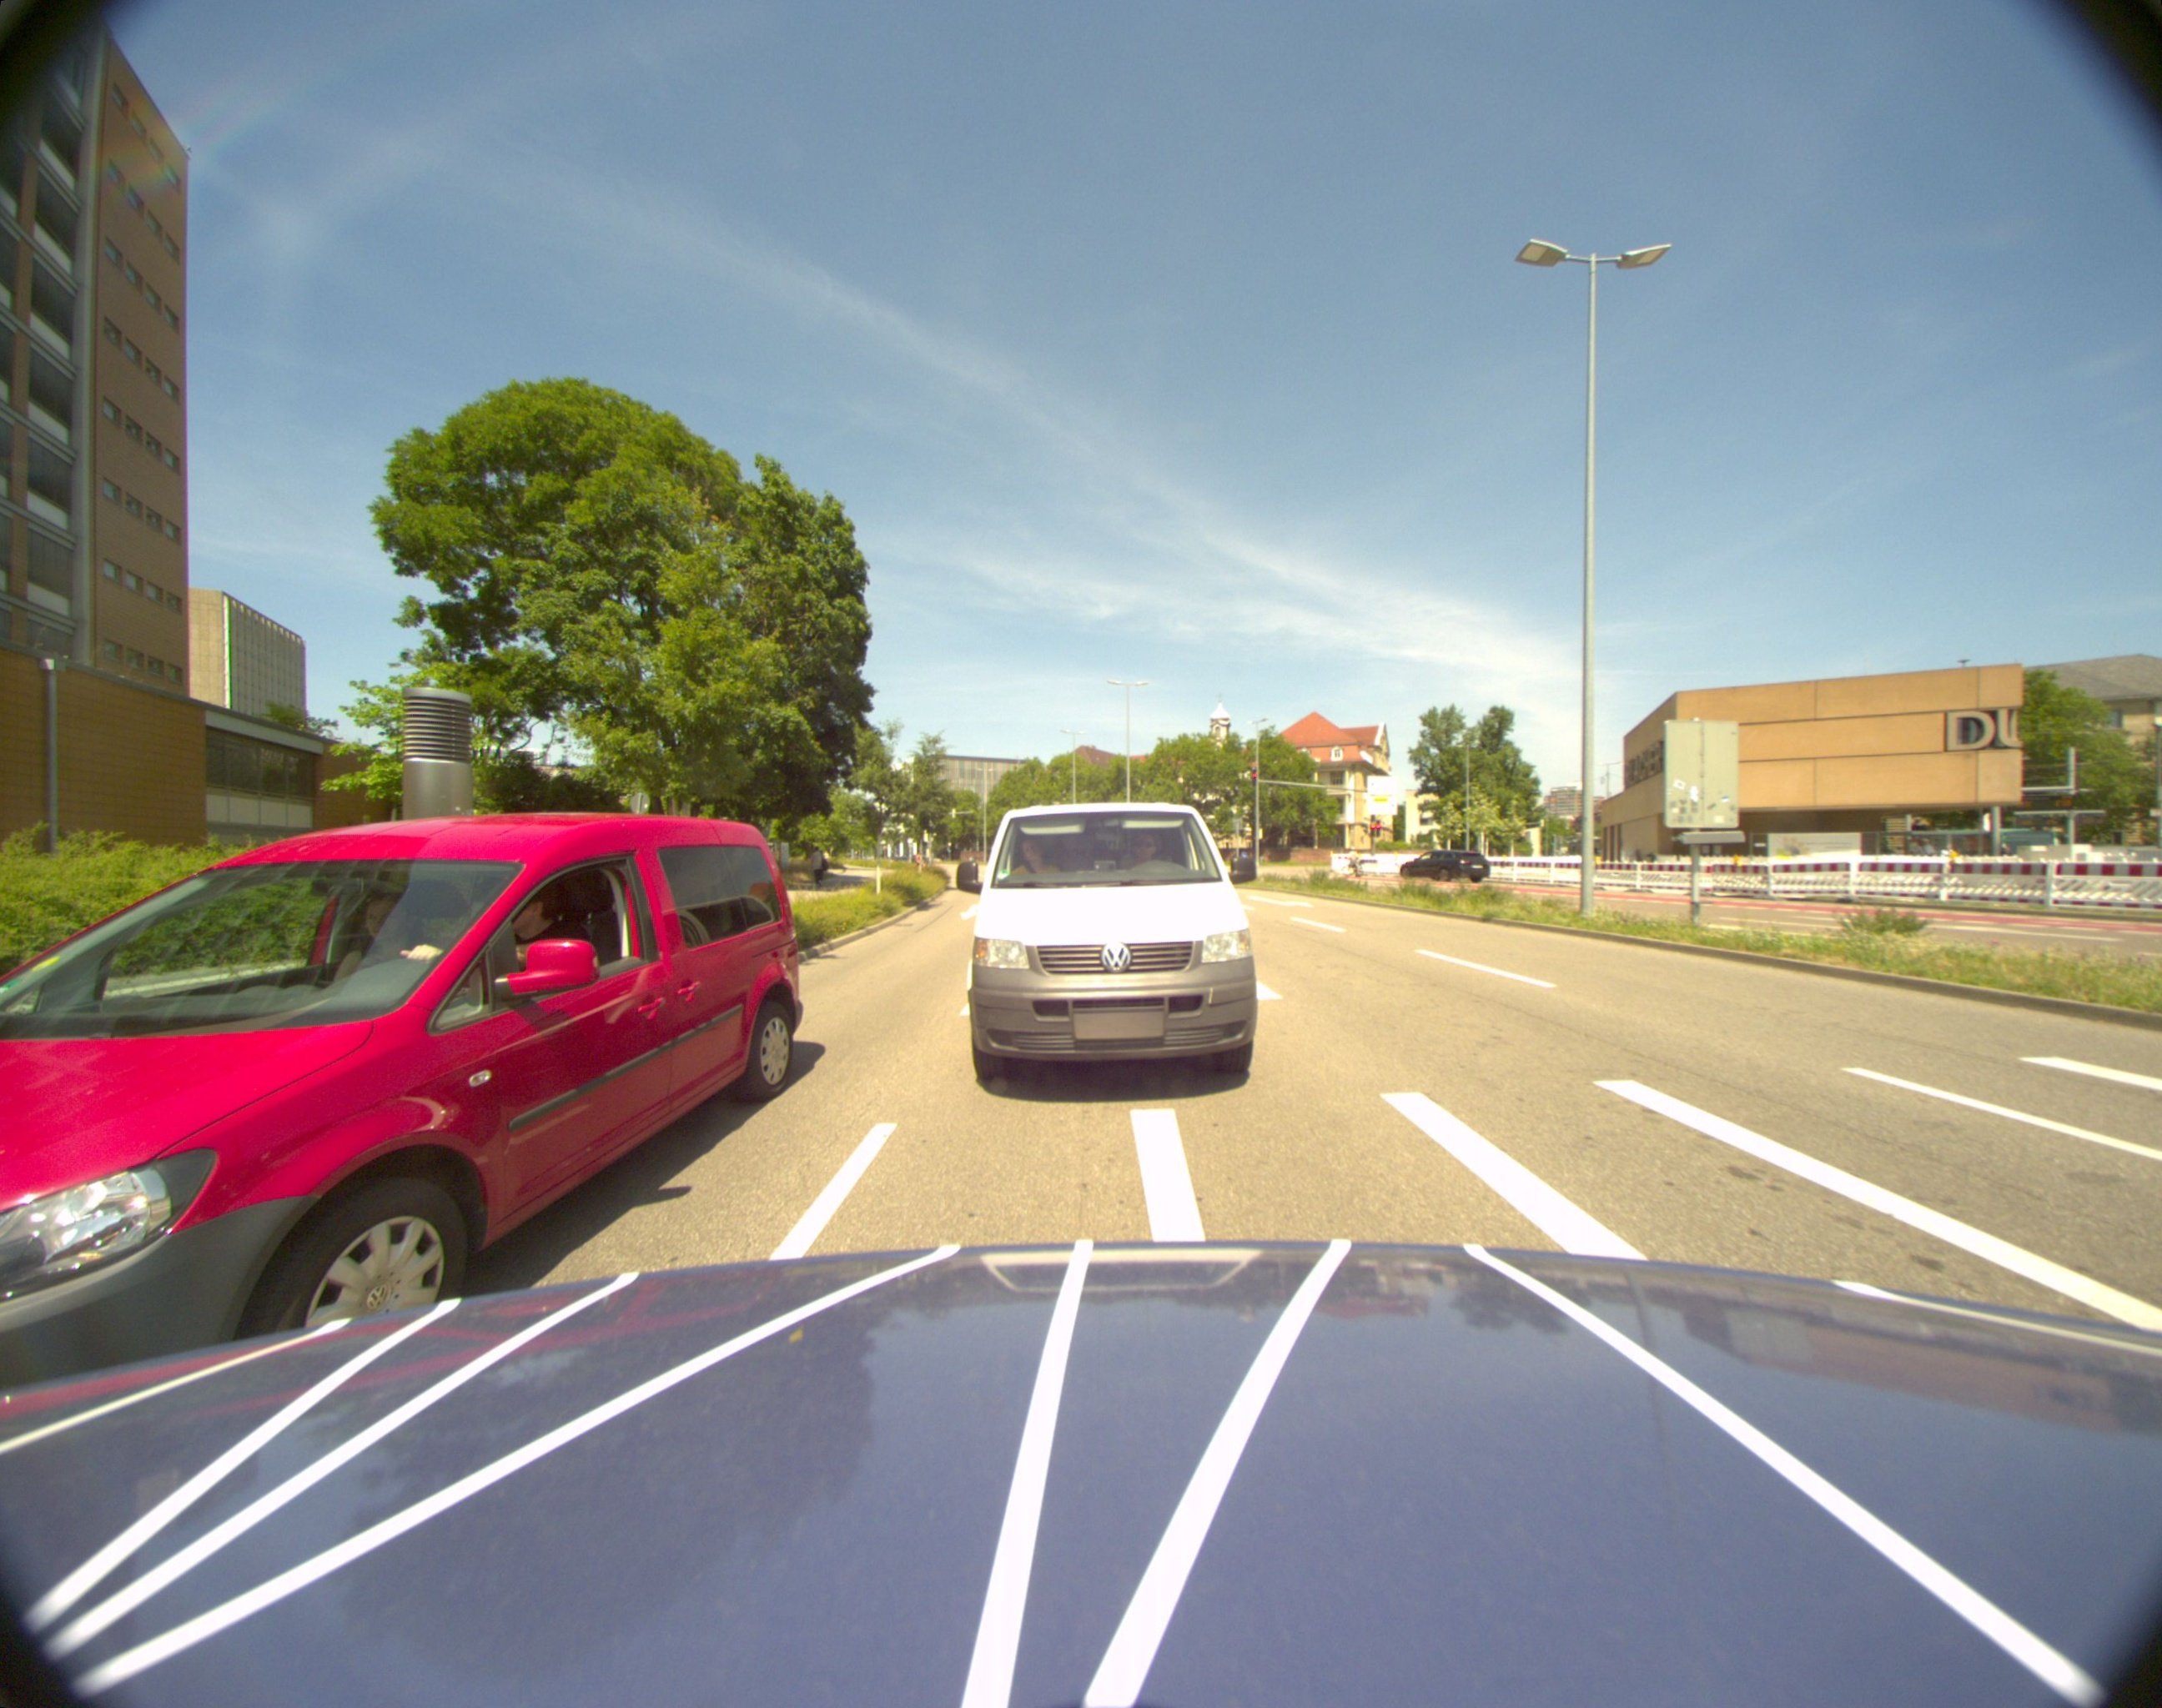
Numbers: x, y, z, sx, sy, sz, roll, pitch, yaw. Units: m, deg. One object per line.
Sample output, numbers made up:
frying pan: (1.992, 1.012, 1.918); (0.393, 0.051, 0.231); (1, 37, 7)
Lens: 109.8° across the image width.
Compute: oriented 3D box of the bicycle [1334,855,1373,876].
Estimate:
bicycle: (14.714, 0.603, 41.071); (0.879, 1.066, 2.229); (-3, 1, -14)

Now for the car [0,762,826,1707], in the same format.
car: (-2.792, 0.759, 3.354); (1.655, 1.848, 4.546); (-1, 0, 1)

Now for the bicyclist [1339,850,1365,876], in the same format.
bicyclist: (14.684, 0.479, 41.151); (0.587, 1.348, 1.438); (-3, 1, -14)

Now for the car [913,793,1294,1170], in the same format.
car: (0.141, 0.665, 6.482); (1.971, 1.958, 4.848); (-2, 1, 0)

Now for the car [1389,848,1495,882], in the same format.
car: (16.674, 0.467, 35.438); (2.000, 1.456, 4.841); (0, 0, -11)

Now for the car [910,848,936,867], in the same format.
car: (-17.117, 0.329, 82.231); (2.002, 2.002, 3.992); (0, 0, -22)

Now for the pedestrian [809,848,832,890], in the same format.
pedestrian: (-11.136, 0.645, 32.468); (0.728, 1.787, 0.614); (0, 1, 2)
